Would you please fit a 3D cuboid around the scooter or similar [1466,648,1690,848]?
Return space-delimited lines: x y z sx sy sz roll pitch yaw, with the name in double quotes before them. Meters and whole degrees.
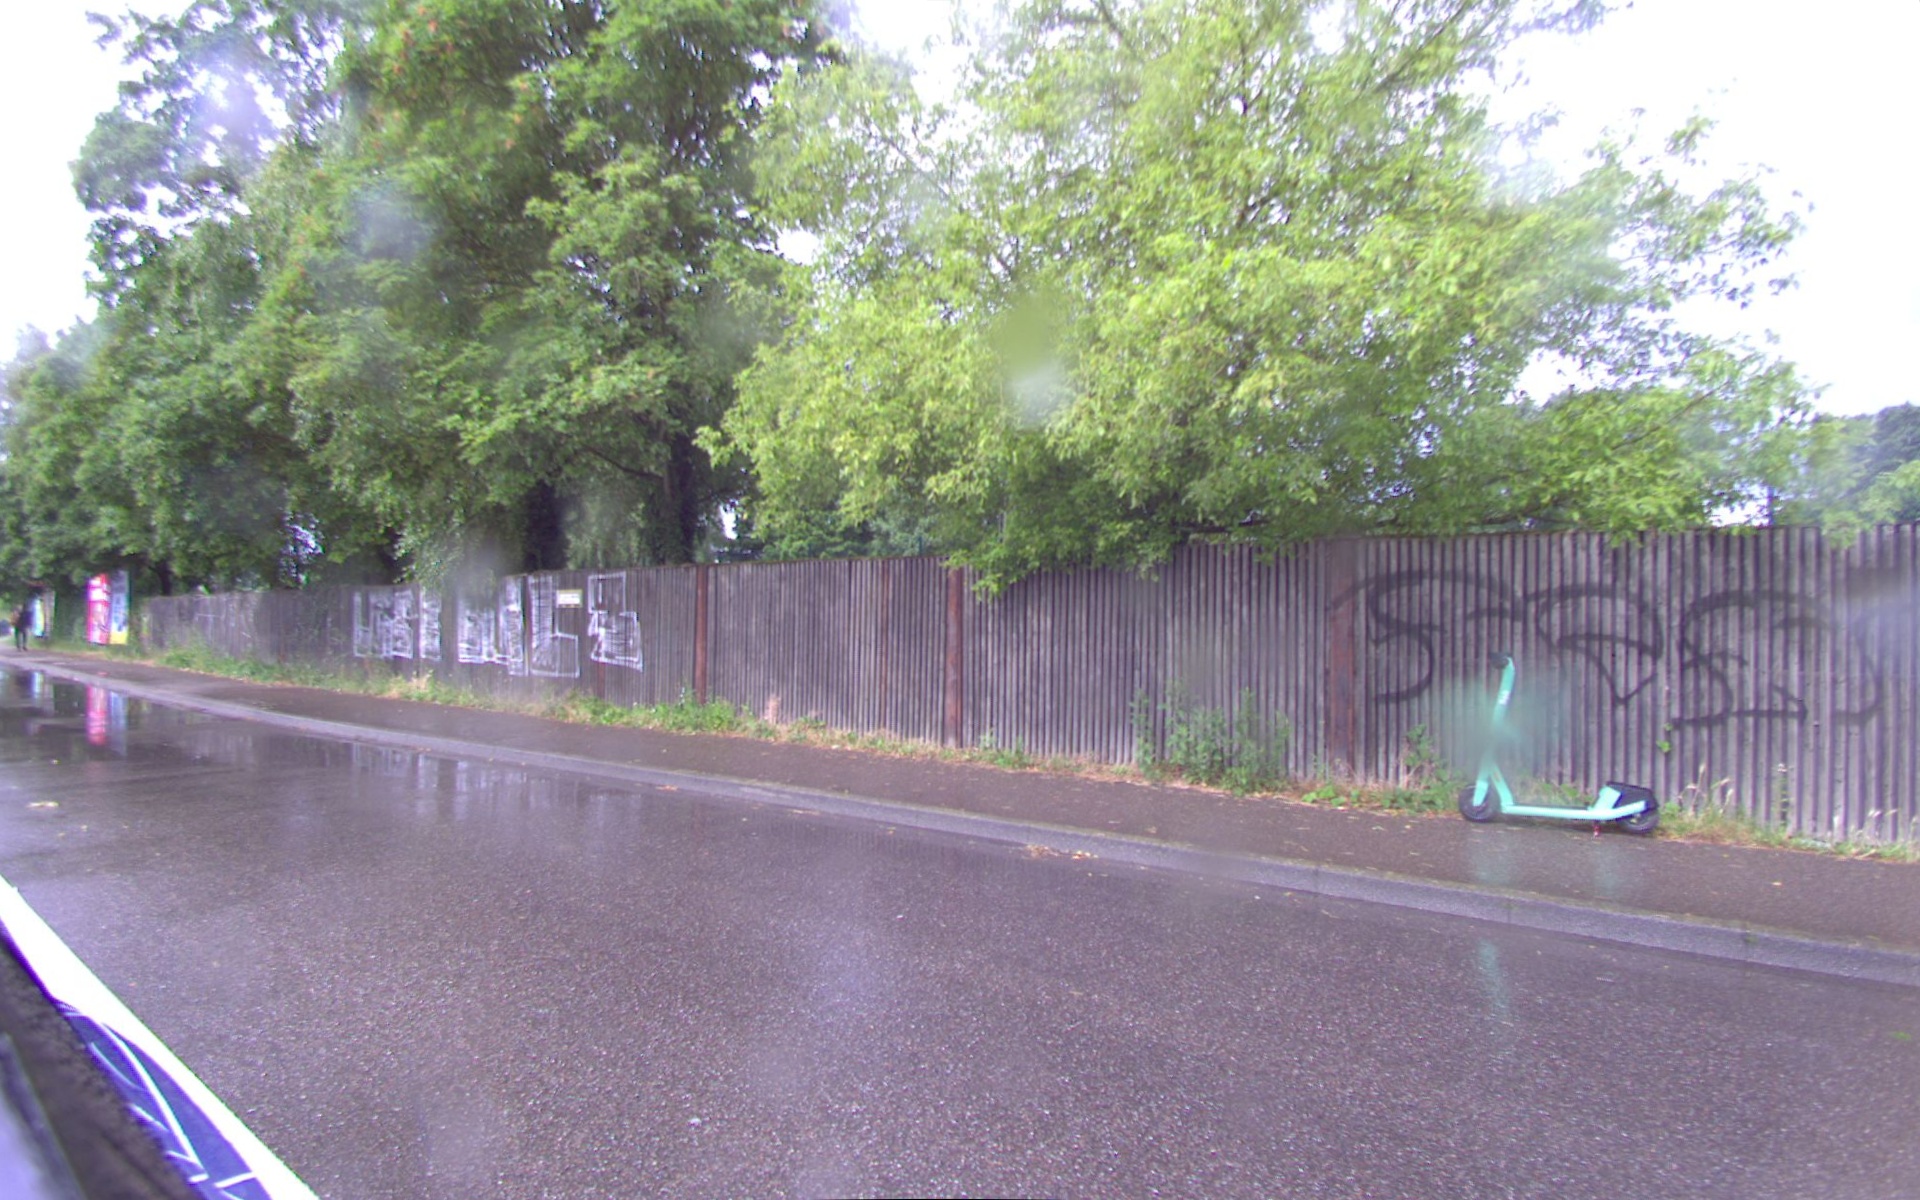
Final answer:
"scooter or similar" 4.052 0.922 6.682 1.205 1.171 0.557 -1 -1 34

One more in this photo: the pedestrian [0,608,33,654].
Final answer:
"pedestrian" -36.660 1.199 39.316 0.644 1.783 0.830 -1 -2 40
